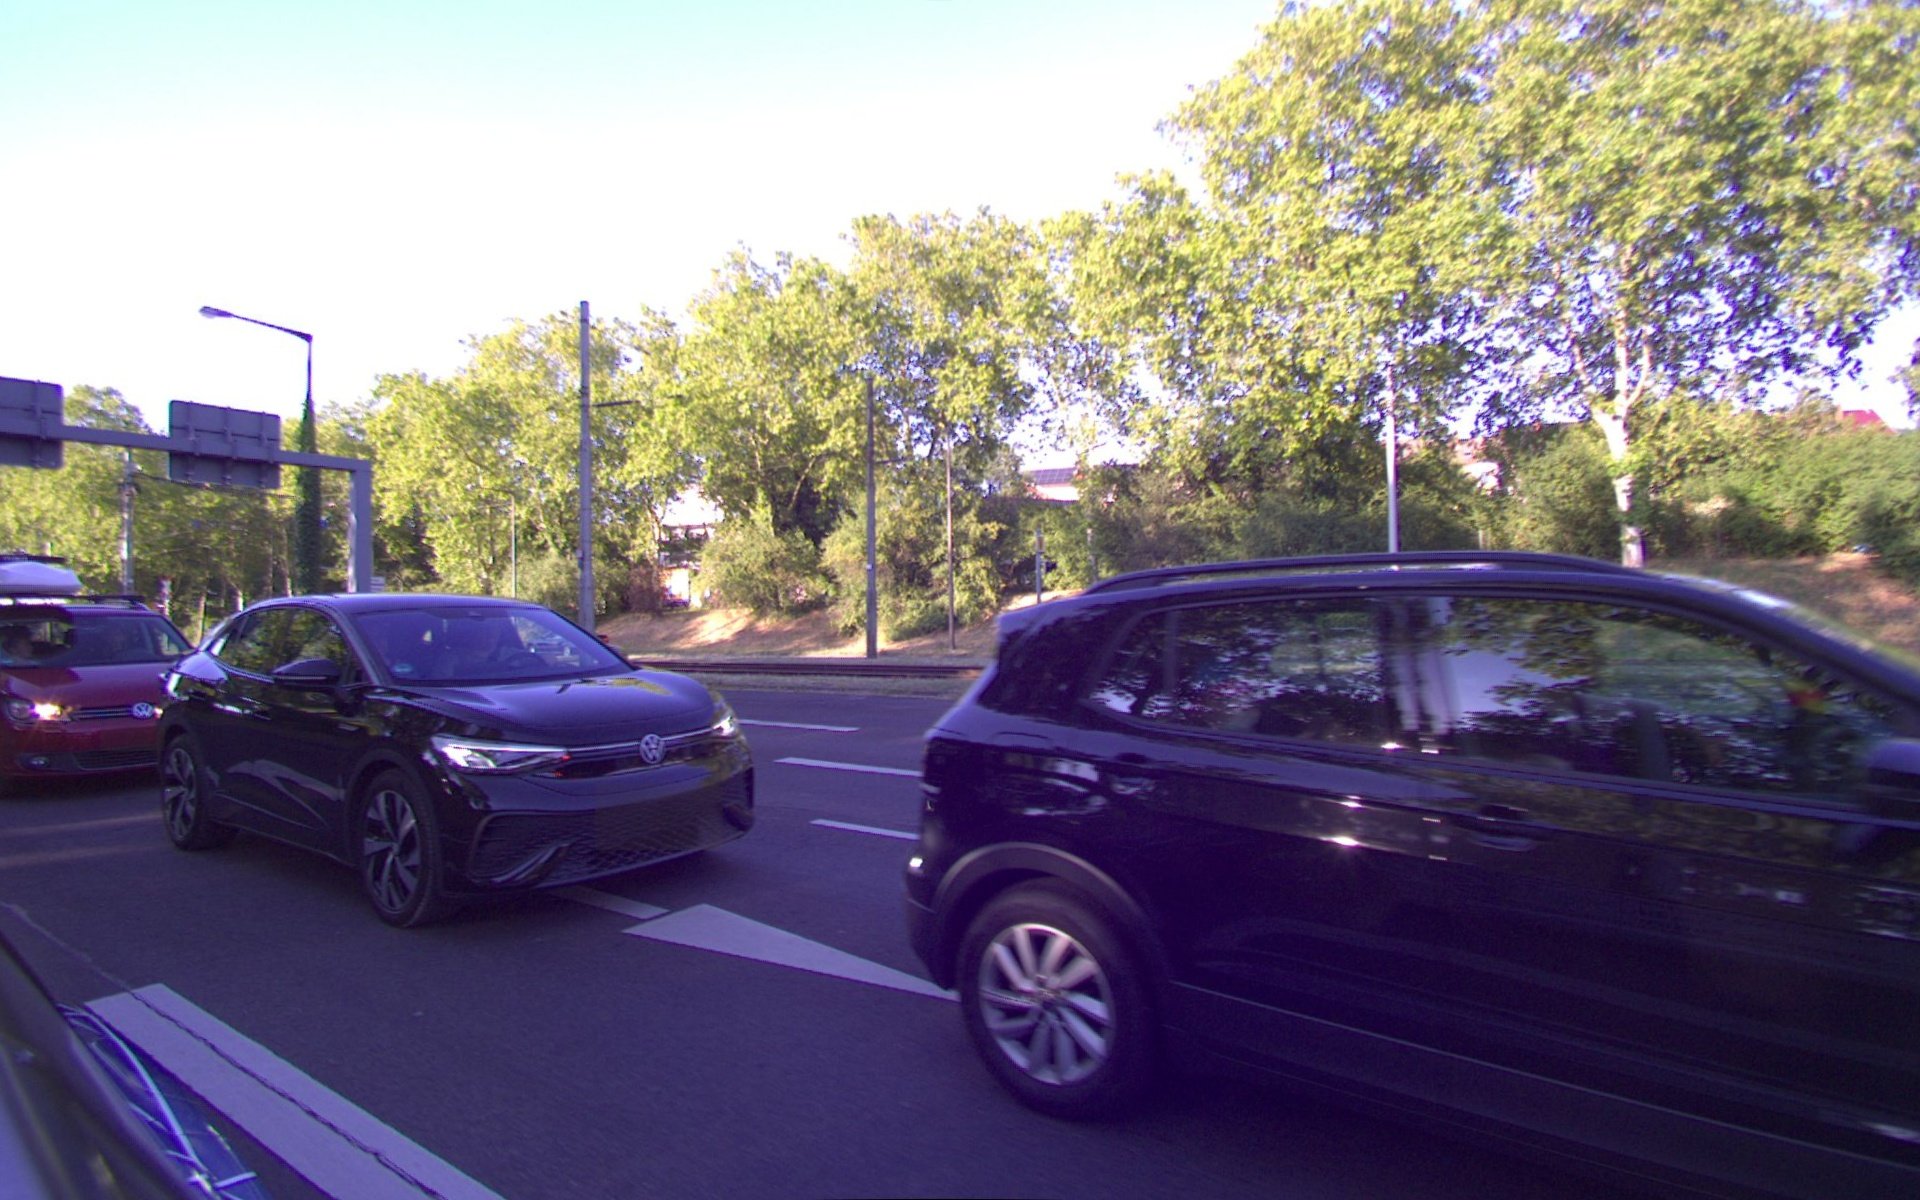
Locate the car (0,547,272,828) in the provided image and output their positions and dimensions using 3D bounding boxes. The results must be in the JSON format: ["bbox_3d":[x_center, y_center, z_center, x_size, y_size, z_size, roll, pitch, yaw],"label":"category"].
[{"bbox_3d":[-8.348,0.765,9.533,3.991,2.121,1.776,-3,-4,35],"label":"car"}]

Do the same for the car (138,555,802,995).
[{"bbox_3d":[-3.086,0.814,6.057,4.232,1.763,1.776,-3,-4,36],"label":"car"}]

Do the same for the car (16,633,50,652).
[{"bbox_3d":[-103.504,4.781,112.990,4.183,2.082,1.975,-2,-4,37],"label":"car"}]

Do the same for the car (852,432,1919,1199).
[{"bbox_3d":[1.783,0.645,2.721,3.992,1.763,1.776,-3,-4,36],"label":"car"}]
